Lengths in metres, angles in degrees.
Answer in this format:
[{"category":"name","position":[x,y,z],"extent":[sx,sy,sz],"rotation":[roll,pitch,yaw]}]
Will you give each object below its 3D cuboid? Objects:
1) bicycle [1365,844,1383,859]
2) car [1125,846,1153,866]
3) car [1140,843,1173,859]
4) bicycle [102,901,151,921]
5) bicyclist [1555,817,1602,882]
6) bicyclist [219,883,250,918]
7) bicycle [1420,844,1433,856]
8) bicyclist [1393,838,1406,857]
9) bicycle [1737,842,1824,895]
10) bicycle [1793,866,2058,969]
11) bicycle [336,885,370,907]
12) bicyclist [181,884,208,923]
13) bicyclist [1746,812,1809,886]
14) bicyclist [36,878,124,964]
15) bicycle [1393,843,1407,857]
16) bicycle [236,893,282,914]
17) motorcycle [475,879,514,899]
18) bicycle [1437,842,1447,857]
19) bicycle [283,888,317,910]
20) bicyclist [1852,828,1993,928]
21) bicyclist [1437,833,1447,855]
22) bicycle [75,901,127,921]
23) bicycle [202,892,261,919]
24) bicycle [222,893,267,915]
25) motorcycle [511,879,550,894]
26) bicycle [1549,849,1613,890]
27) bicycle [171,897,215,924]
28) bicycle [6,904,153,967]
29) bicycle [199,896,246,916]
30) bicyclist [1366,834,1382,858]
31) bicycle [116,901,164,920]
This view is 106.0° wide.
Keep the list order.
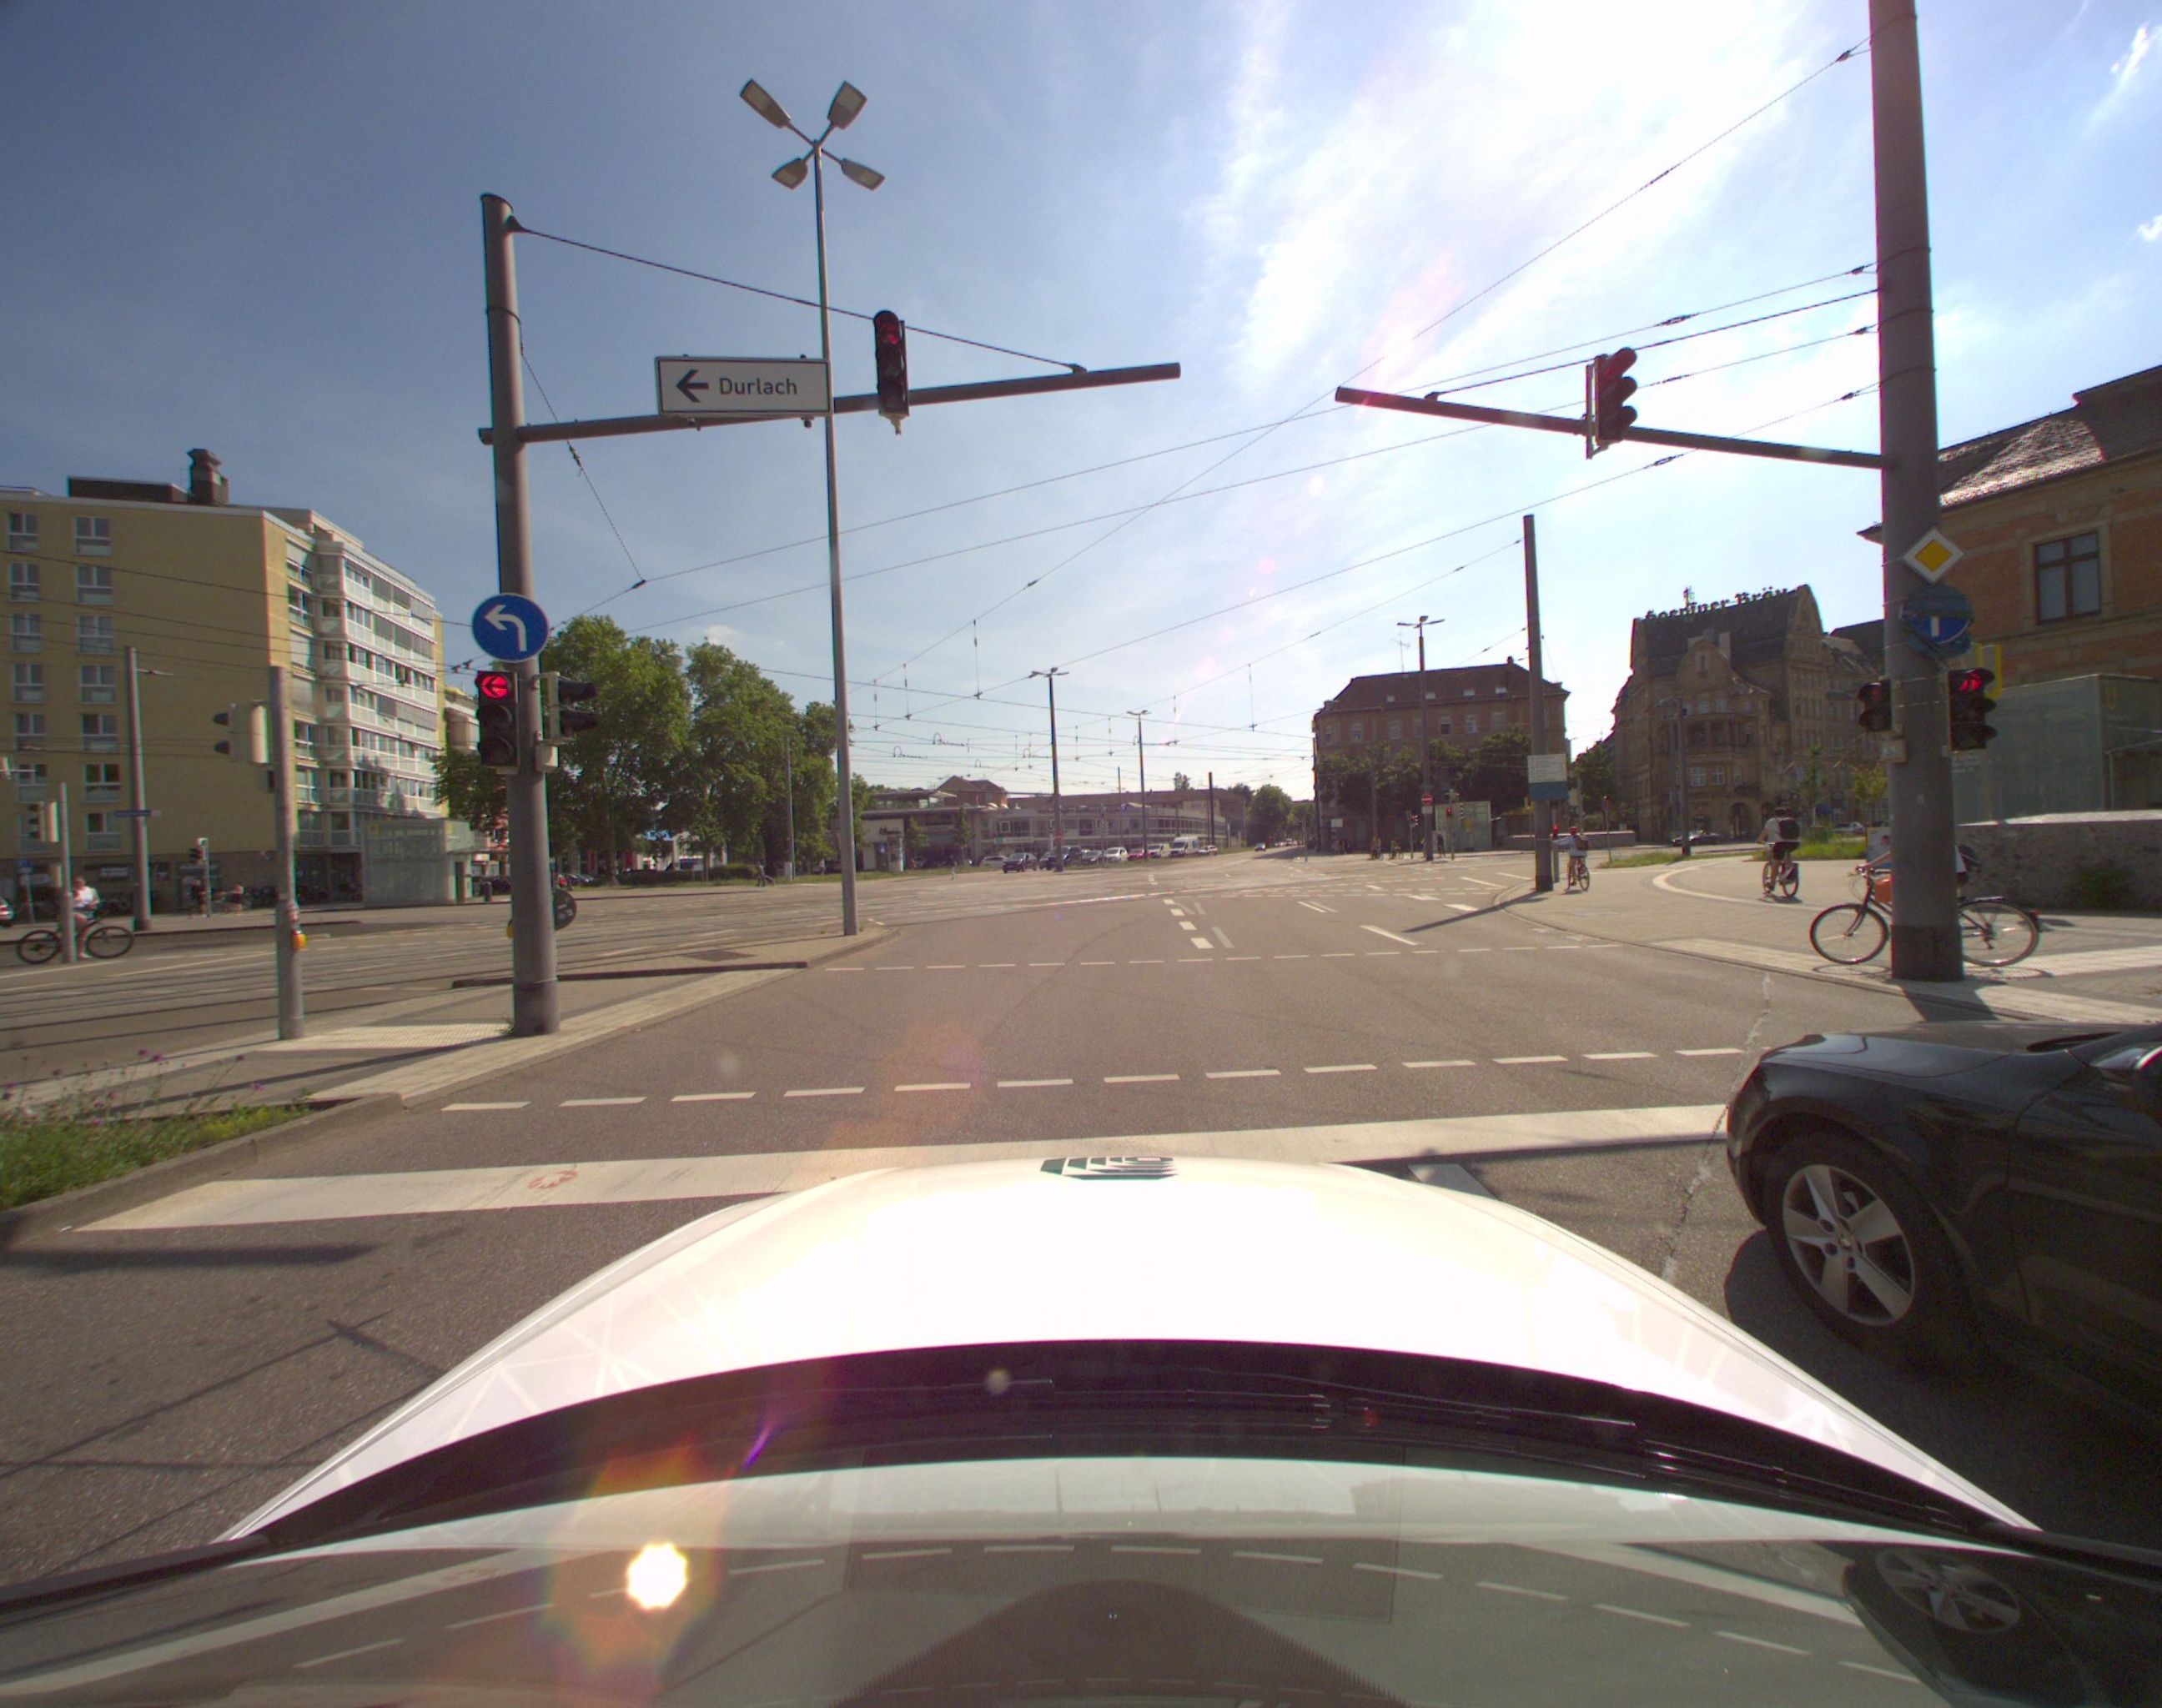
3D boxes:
[{"category":"bicycle","position":[21.981,-0.194,61.169],"extent":[0.920,1.069,2.755],"rotation":[-1,-1,12]},{"category":"car","position":[6.134,0.218,85.371],"extent":[1.879,1.917,4.220],"rotation":[-3,-1,19]},{"category":"car","position":[8.597,-0.329,92.448],"extent":[2.165,1.680,5.058],"rotation":[-3,0,24]},{"category":"bicycle","position":[-52.069,3.117,44.445],"extent":[1.750,0.916,0.582],"rotation":[-3,1,-8]},{"category":"bicyclist","position":[13.522,-0.121,22.173],"extent":[0.710,1.669,0.877],"rotation":[-5,-1,10]},{"category":"bicyclist","position":[-39.218,2.144,37.731],"extent":[0.728,1.572,0.613],"rotation":[-3,-1,2]},{"category":"bicycle","position":[25.921,-0.327,61.088],"extent":[0.497,0.866,1.590],"rotation":[0,0,7]},{"category":"bicyclist","position":[24.089,-0.492,61.595],"extent":[0.918,1.451,1.258],"rotation":[-1,1,21]},{"category":"bicycle","position":[14.468,0.296,16.921],"extent":[0.708,1.015,2.031],"rotation":[-3,-1,22]},{"category":"bicycle","position":[9.293,0.713,9.094],"extent":[1.894,1.015,0.721],"rotation":[-5,-1,35]},{"category":"bicycle","position":[-44.393,2.551,49.676],"extent":[0.581,1.219,1.754],"rotation":[-3,1,-5]},{"category":"bicyclist","position":[-40.791,2.266,37.493],"extent":[0.584,1.735,0.613],"rotation":[-3,-1,-22]},{"category":"bicyclist","position":[14.479,-0.100,16.955],"extent":[0.708,1.488,0.955],"rotation":[-1,-1,22]},{"category":"bicyclist","position":[-20.921,1.383,17.044],"extent":[0.774,1.684,0.749],"rotation":[-4,0,-9]},{"category":"bicycle","position":[24.217,-0.303,61.877],"extent":[0.918,1.069,2.856],"rotation":[-1,1,21]},{"category":"bicycle","position":[-46.815,2.800,46.390],"extent":[1.750,1.043,0.582],"rotation":[-3,1,-9]},{"category":"motorcycle","position":[-35.751,2.130,49.650],"extent":[2.019,1.062,0.642],"rotation":[-2,0,9]},{"category":"bicycle","position":[27.007,-0.345,60.882],"extent":[0.661,1.069,2.478],"rotation":[-1,1,24]},{"category":"bicycle","position":[-46.291,2.674,48.299],"extent":[0.540,1.186,1.881],"rotation":[-2,0,-13]},{"category":"bicyclist","position":[9.317,0.267,9.066],"extent":[0.904,1.029,0.721],"rotation":[-5,-1,35]},{"category":"bicyclist","position":[26.948,-0.757,60.768],"extent":[0.661,1.624,0.787],"rotation":[-1,0,24]},{"category":"bicycle","position":[-53.567,3.129,44.517],"extent":[1.754,0.916,0.581],"rotation":[-3,1,-15]},{"category":"bicycle","position":[-39.230,2.366,37.640],"extent":[0.749,1.130,1.798],"rotation":[-2,0,3]},{"category":"bicycle","position":[-46.963,2.808,45.727],"extent":[1.747,1.085,0.583],"rotation":[-3,3,-4]},{"category":"motorcycle","position":[-36.870,2.179,54.561],"extent":[0.632,0.842,2.051],"rotation":[-2,0,35]},{"category":"bicycle","position":[13.571,0.387,22.176],"extent":[0.710,1.015,2.026],"rotation":[-5,0,10]},{"category":"bicycle","position":[-40.937,2.577,37.562],"extent":[0.584,1.130,1.784],"rotation":[-3,-1,-21]},{"category":"bicycle","position":[-20.921,1.694,17.050],"extent":[1.843,1.083,0.749],"rotation":[-4,0,-9]},{"category":"bicycle","position":[-48.420,2.915,45.931],"extent":[1.751,0.965,0.582],"rotation":[-3,1,-11]},{"category":"bicyclist","position":[21.970,-0.580,61.078],"extent":[0.920,1.820,1.055],"rotation":[-1,-1,11]},{"category":"bicycle","position":[-51.991,3.121,45.009],"extent":[1.750,0.916,0.582],"rotation":[-3,1,-8]}]
